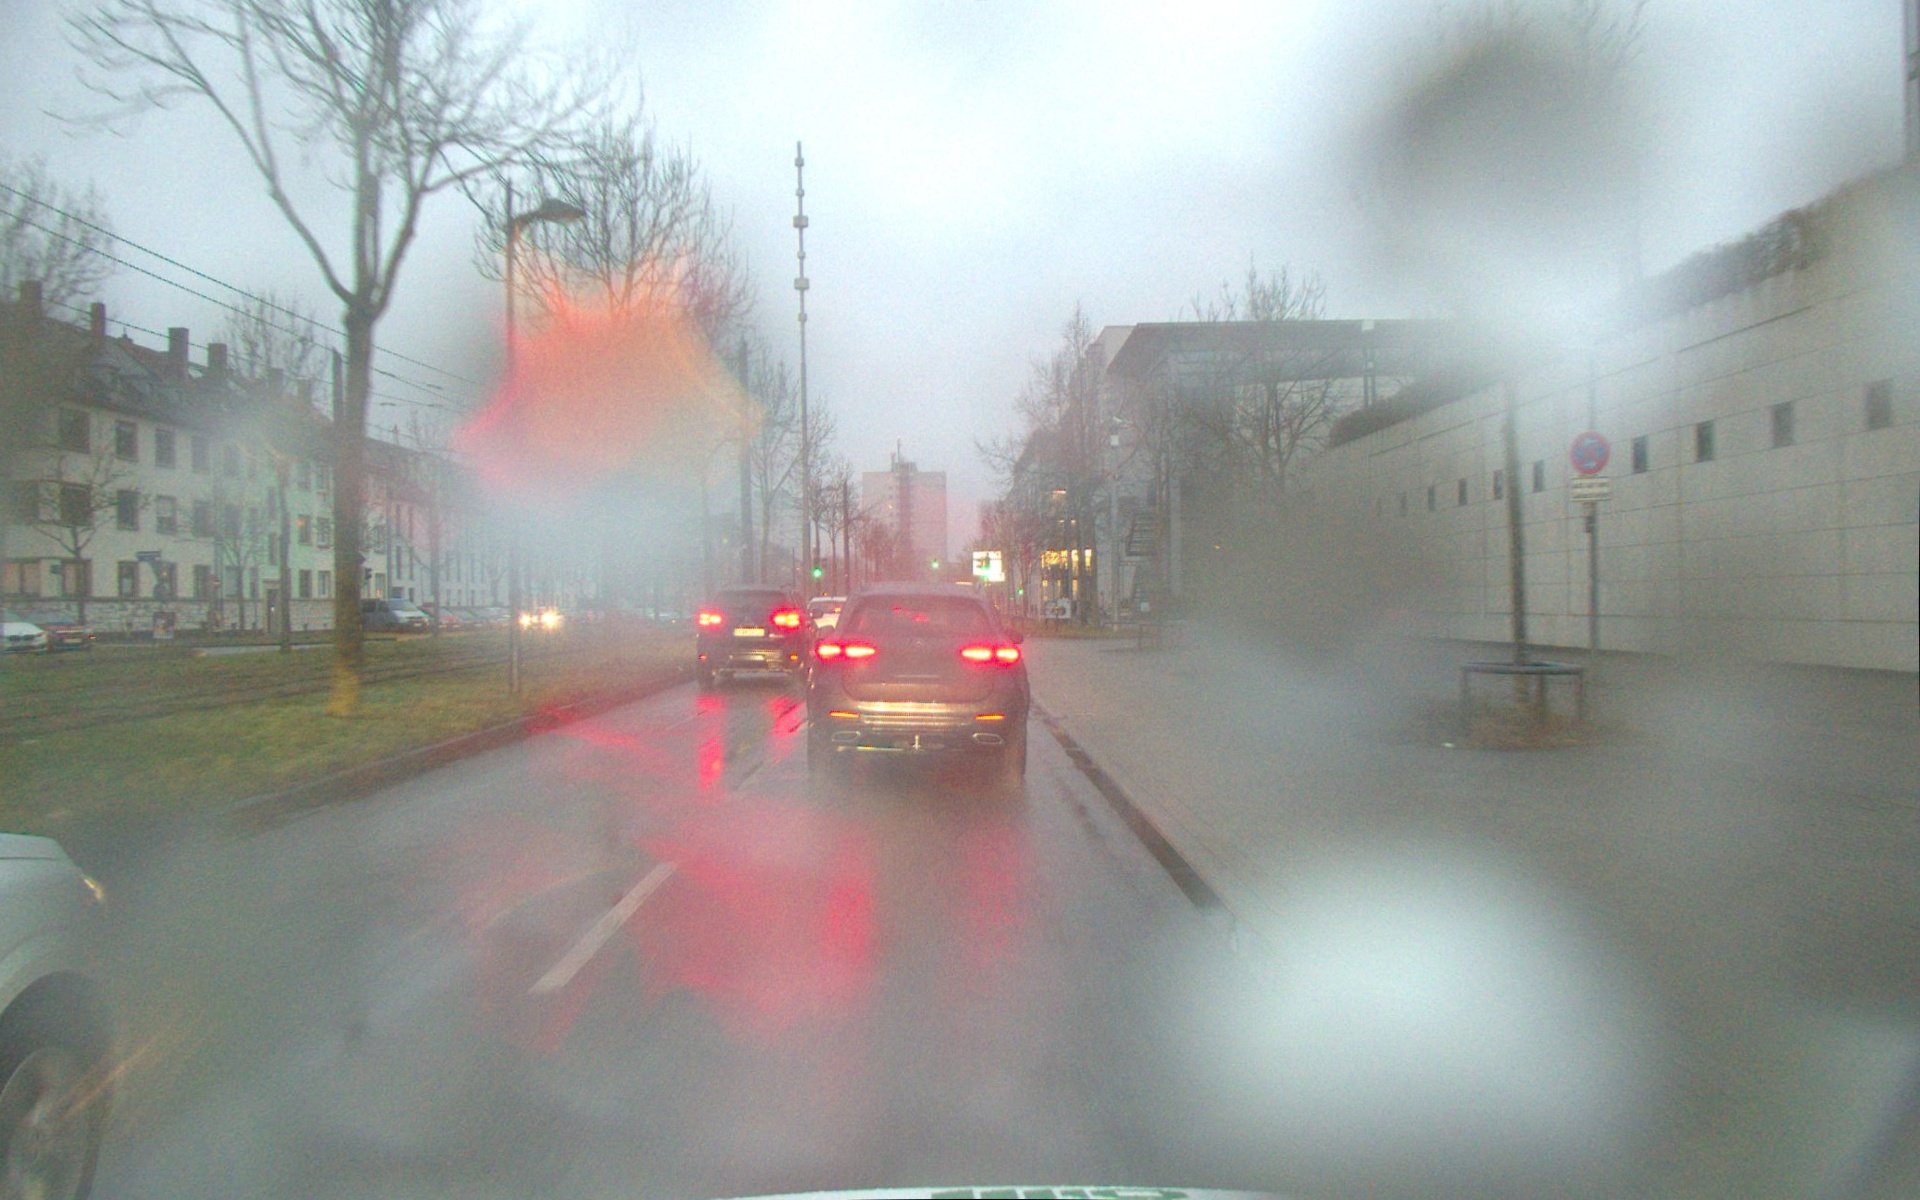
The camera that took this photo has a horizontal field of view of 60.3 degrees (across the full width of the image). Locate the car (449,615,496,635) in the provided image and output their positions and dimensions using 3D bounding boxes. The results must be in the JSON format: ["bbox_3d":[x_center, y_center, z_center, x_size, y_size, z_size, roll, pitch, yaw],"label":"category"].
[{"bbox_3d":[-28.388,1.464,96.309,2.341,1.067,1.433,1,1,32],"label":"car"}]

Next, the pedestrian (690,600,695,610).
[{"bbox_3d":[-31.776,0.613,196.441,0.343,1.205,0.427,1,-1,-42],"label":"pedestrian"}]

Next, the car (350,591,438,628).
[{"bbox_3d":[-28.722,0.492,83.919,4.561,1.754,1.828,1,0,33],"label":"car"}]

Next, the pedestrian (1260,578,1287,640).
[{"bbox_3d":[8.416,0.245,44.334,0.658,1.653,0.615,1,-1,14],"label":"pedestrian"}]

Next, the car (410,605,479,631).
[{"bbox_3d":[-28.154,0.988,90.321,3.504,1.332,1.682,1,0,32],"label":"car"}]

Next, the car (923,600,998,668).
[{"bbox_3d":[-0.021,0.844,42.615,1.817,1.664,3.473,1,0,-1],"label":"car"}]

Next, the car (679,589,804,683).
[{"bbox_3d":[-3.678,0.581,28.453,1.781,1.476,3.998,1,0,-3],"label":"car"}]

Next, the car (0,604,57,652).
[{"bbox_3d":[-27.936,0.765,48.067,3.964,1.252,1.343,3,-1,36],"label":"car"}]

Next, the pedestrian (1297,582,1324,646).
[{"bbox_3d":[9.119,0.367,43.074,0.658,1.640,0.615,1,-1,13],"label":"pedestrian"}]

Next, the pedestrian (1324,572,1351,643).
[{"bbox_3d":[9.788,0.192,42.874,0.658,1.809,0.615,1,-1,13],"label":"pedestrian"}]

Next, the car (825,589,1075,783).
[{"bbox_3d":[-0.114,0.700,14.911,1.953,1.509,3.699,1,-1,-1],"label":"car"}]

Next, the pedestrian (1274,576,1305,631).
[{"bbox_3d":[10.260,0.120,51.524,0.654,1.684,0.993,-1,-1,-6],"label":"pedestrian"}]

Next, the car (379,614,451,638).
[{"bbox_3d":[-28.711,1.368,87.087,3.495,1.161,1.733,1,0,32],"label":"car"}]

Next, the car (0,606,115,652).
[{"bbox_3d":[-28.232,0.893,51.683,4.027,1.181,1.704,3,-1,38],"label":"car"}]

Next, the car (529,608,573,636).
[{"bbox_3d":[-23.153,1.241,93.751,1.514,1.530,3.783,1,0,0],"label":"car"}]

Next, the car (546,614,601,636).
[{"bbox_3d":[-28.547,1.849,122.028,4.078,1.568,1.664,1,0,35],"label":"car"}]

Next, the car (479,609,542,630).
[{"bbox_3d":[-27.983,1.208,102.943,3.766,1.267,1.731,1,0,35],"label":"car"}]

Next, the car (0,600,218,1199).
[{"bbox_3d":[-2.705,0.736,2.218,1.654,1.500,4.000,1,0,-1],"label":"car"}]

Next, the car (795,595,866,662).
[{"bbox_3d":[-3.398,0.736,43.941,1.655,1.664,3.473,1,0,-1],"label":"car"}]
